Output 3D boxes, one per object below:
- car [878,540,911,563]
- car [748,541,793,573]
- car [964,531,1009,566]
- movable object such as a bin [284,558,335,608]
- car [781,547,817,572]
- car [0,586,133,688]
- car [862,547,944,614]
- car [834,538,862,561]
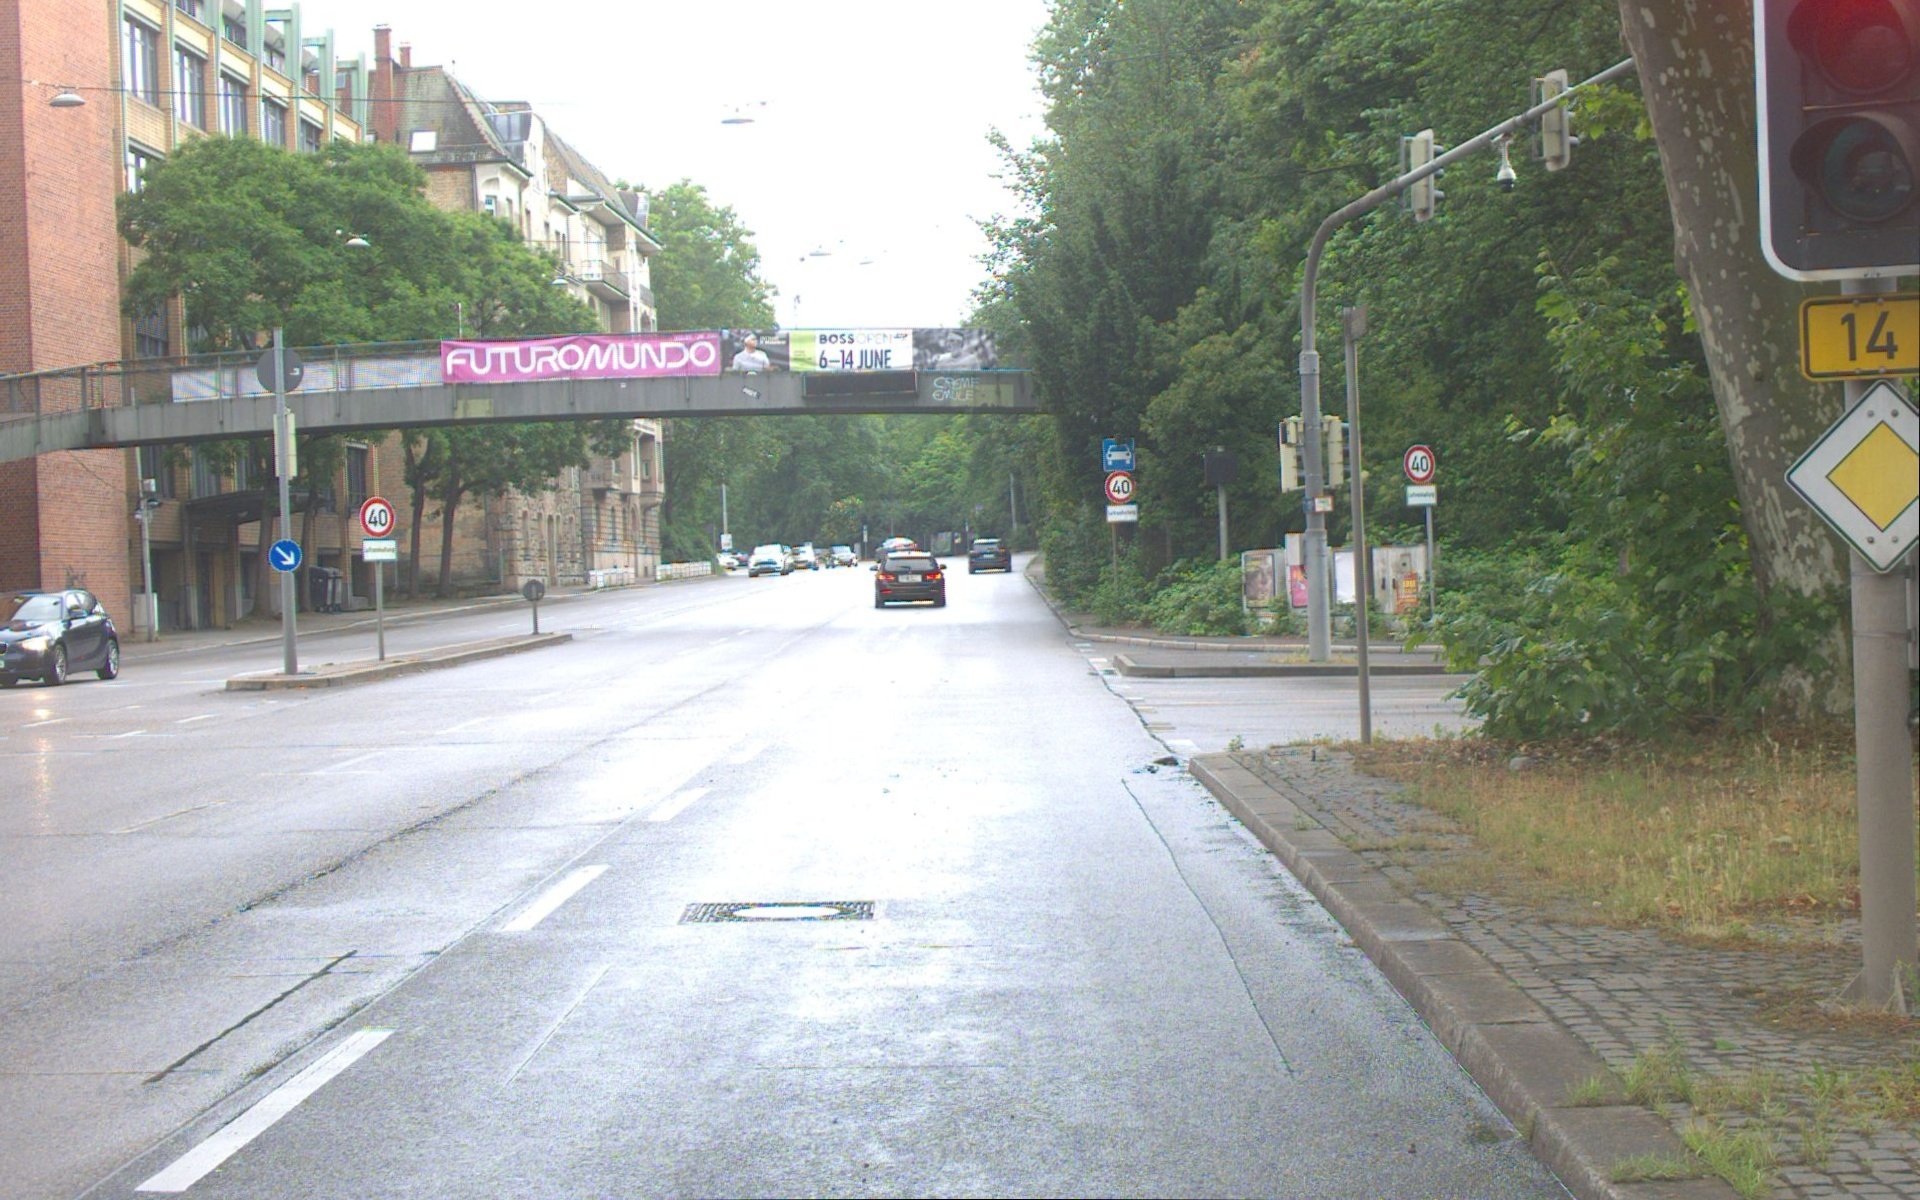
[{"bbox_3d":[-4.655,-3.447,244.290,1.889,1.604,4.457,-1,1,-6],"label":"car"},{"bbox_3d":[-9.780,-2.219,177.574,1.890,1.604,4.456,-1,1,2],"label":"car"},{"bbox_3d":[1.107,-2.206,147.020,1.842,1.448,3.777,1,1,-1],"label":"car"},{"bbox_3d":[-20.256,-0.527,107.021,1.282,1.513,1.273,-1,1,1],"label":"movable object such as a bin"},{"bbox_3d":[-9.486,-2.389,202.817,1.709,1.459,4.041,-2,0,3],"label":"car"},{"bbox_3d":[-13.709,0.550,50.648,1.686,1.414,4.214,-2,0,4],"label":"car"},{"bbox_3d":[-1.506,-0.514,89.272,2.004,1.638,4.376,-2,1,-2],"label":"car"},{"bbox_3d":[-7.473,-3.363,228.867,1.683,1.431,3.862,-2,0,0],"label":"car"}]
